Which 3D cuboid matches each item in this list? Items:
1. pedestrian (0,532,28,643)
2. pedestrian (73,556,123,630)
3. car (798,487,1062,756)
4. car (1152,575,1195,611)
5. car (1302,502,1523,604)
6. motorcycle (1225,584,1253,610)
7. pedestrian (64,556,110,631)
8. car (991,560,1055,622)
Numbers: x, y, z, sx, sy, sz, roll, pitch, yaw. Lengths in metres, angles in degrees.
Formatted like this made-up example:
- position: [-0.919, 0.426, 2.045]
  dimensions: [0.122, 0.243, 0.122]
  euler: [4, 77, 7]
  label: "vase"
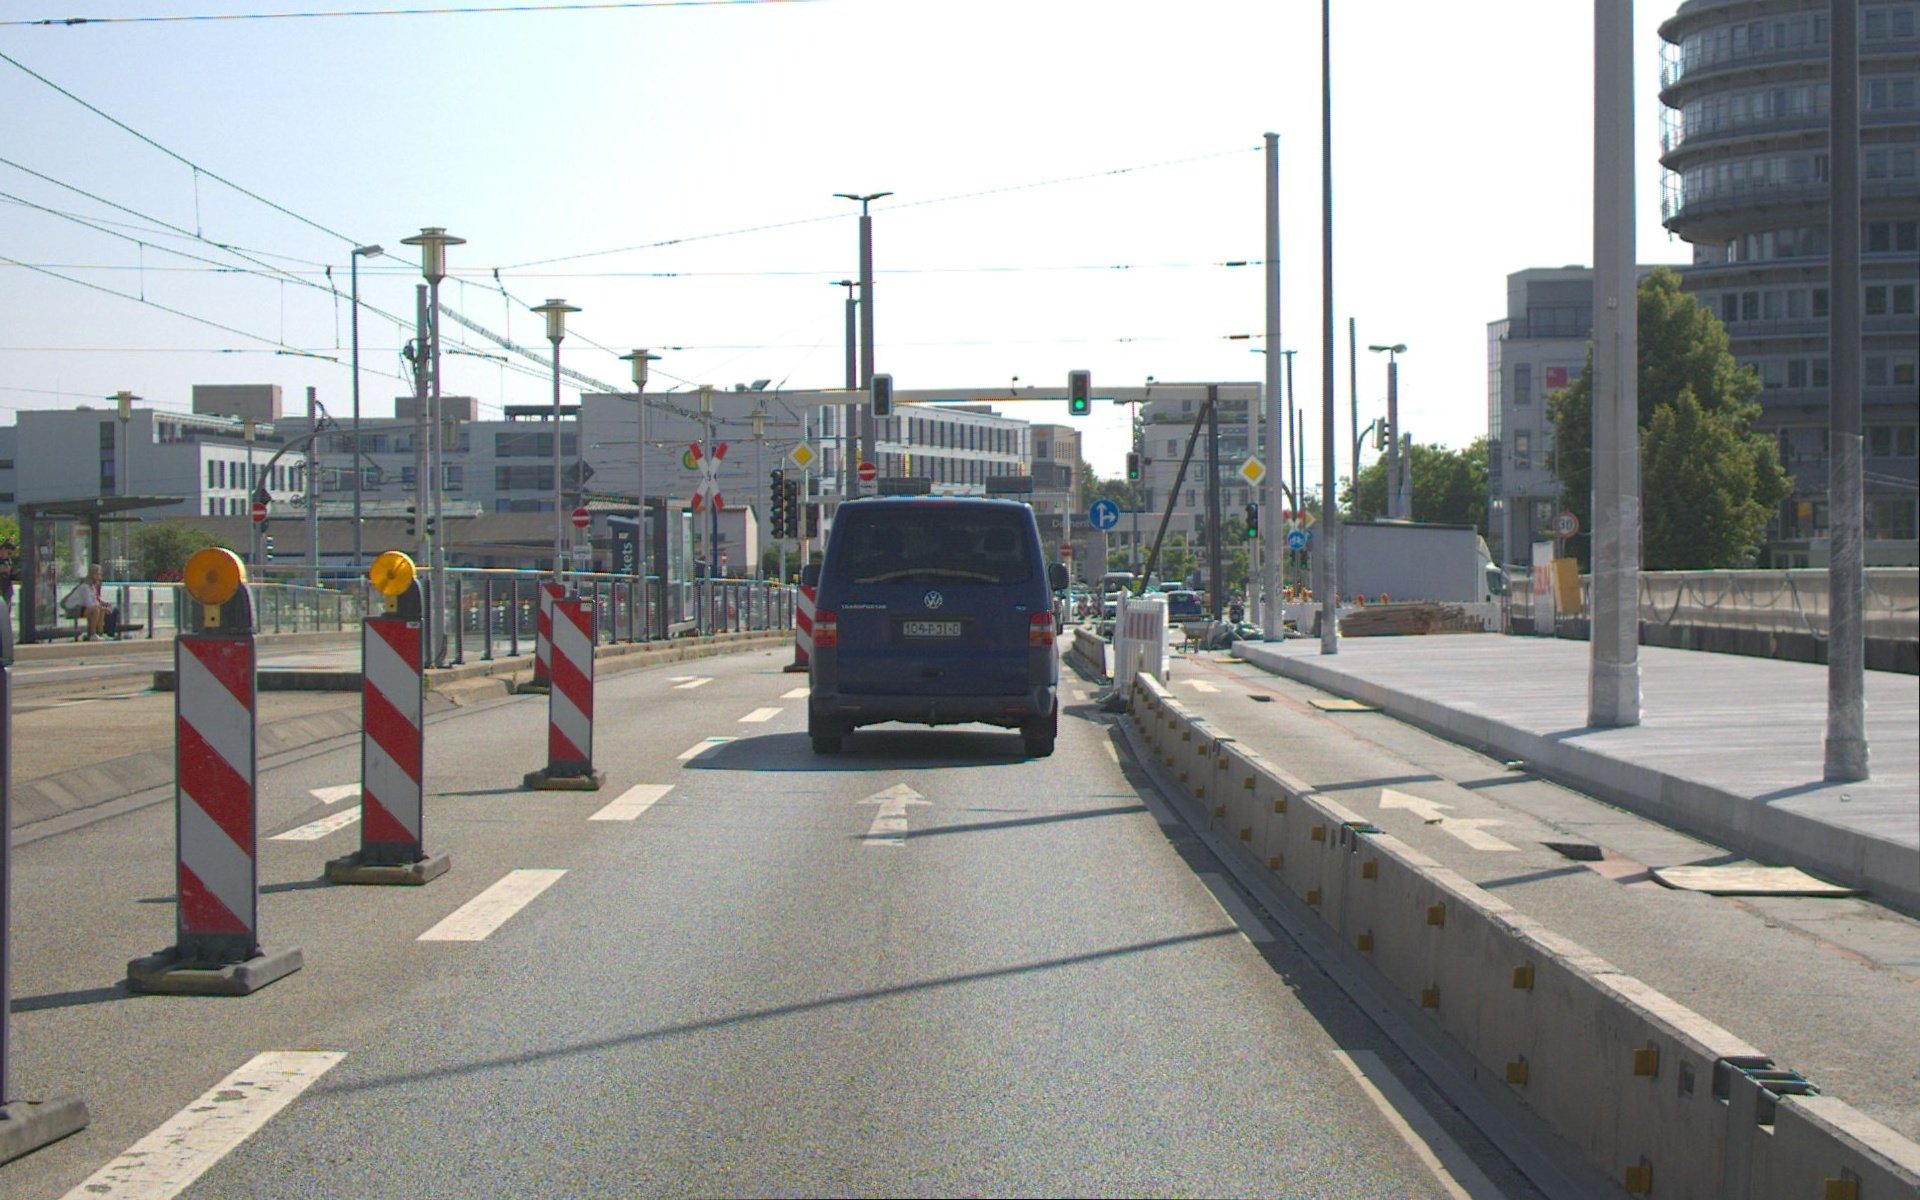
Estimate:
- position: [-14.469, -0.197, 51.552]
  dimensions: [0.660, 1.649, 0.739]
  euler: [0, 1, 12]
  label: "pedestrian"
- position: [-14.821, -0.119, 59.110]
  dimensions: [0.648, 1.269, 0.697]
  euler: [0, 0, 4]
  label: "pedestrian"
- position: [-0.230, 0.113, 27.139]
  dimensions: [1.888, 1.927, 4.000]
  euler: [1, 1, 0]
  label: "car"
- position: [8.831, -0.280, 142.057]
  dimensions: [1.744, 1.470, 3.884]
  euler: [0, 0, 4]
  label: "car"
- position: [13.308, -1.388, 101.208]
  dimensions: [5.949, 2.877, 2.347]
  euler: [1, 1, -17]
  label: "car"
- position: [14.395, -0.164, 177.411]
  dimensions: [1.162, 1.238, 3.006]
  euler: [0, 1, 10]
  label: "motorcycle"
- position: [-14.865, -0.108, 58.528]
  dimensions: [0.648, 1.269, 0.453]
  euler: [0, 0, 5]
  label: "pedestrian"
- position: [1.848, -0.285, 99.893]
  dimensions: [1.645, 1.722, 3.716]
  euler: [2, 1, 4]
  label: "car"
